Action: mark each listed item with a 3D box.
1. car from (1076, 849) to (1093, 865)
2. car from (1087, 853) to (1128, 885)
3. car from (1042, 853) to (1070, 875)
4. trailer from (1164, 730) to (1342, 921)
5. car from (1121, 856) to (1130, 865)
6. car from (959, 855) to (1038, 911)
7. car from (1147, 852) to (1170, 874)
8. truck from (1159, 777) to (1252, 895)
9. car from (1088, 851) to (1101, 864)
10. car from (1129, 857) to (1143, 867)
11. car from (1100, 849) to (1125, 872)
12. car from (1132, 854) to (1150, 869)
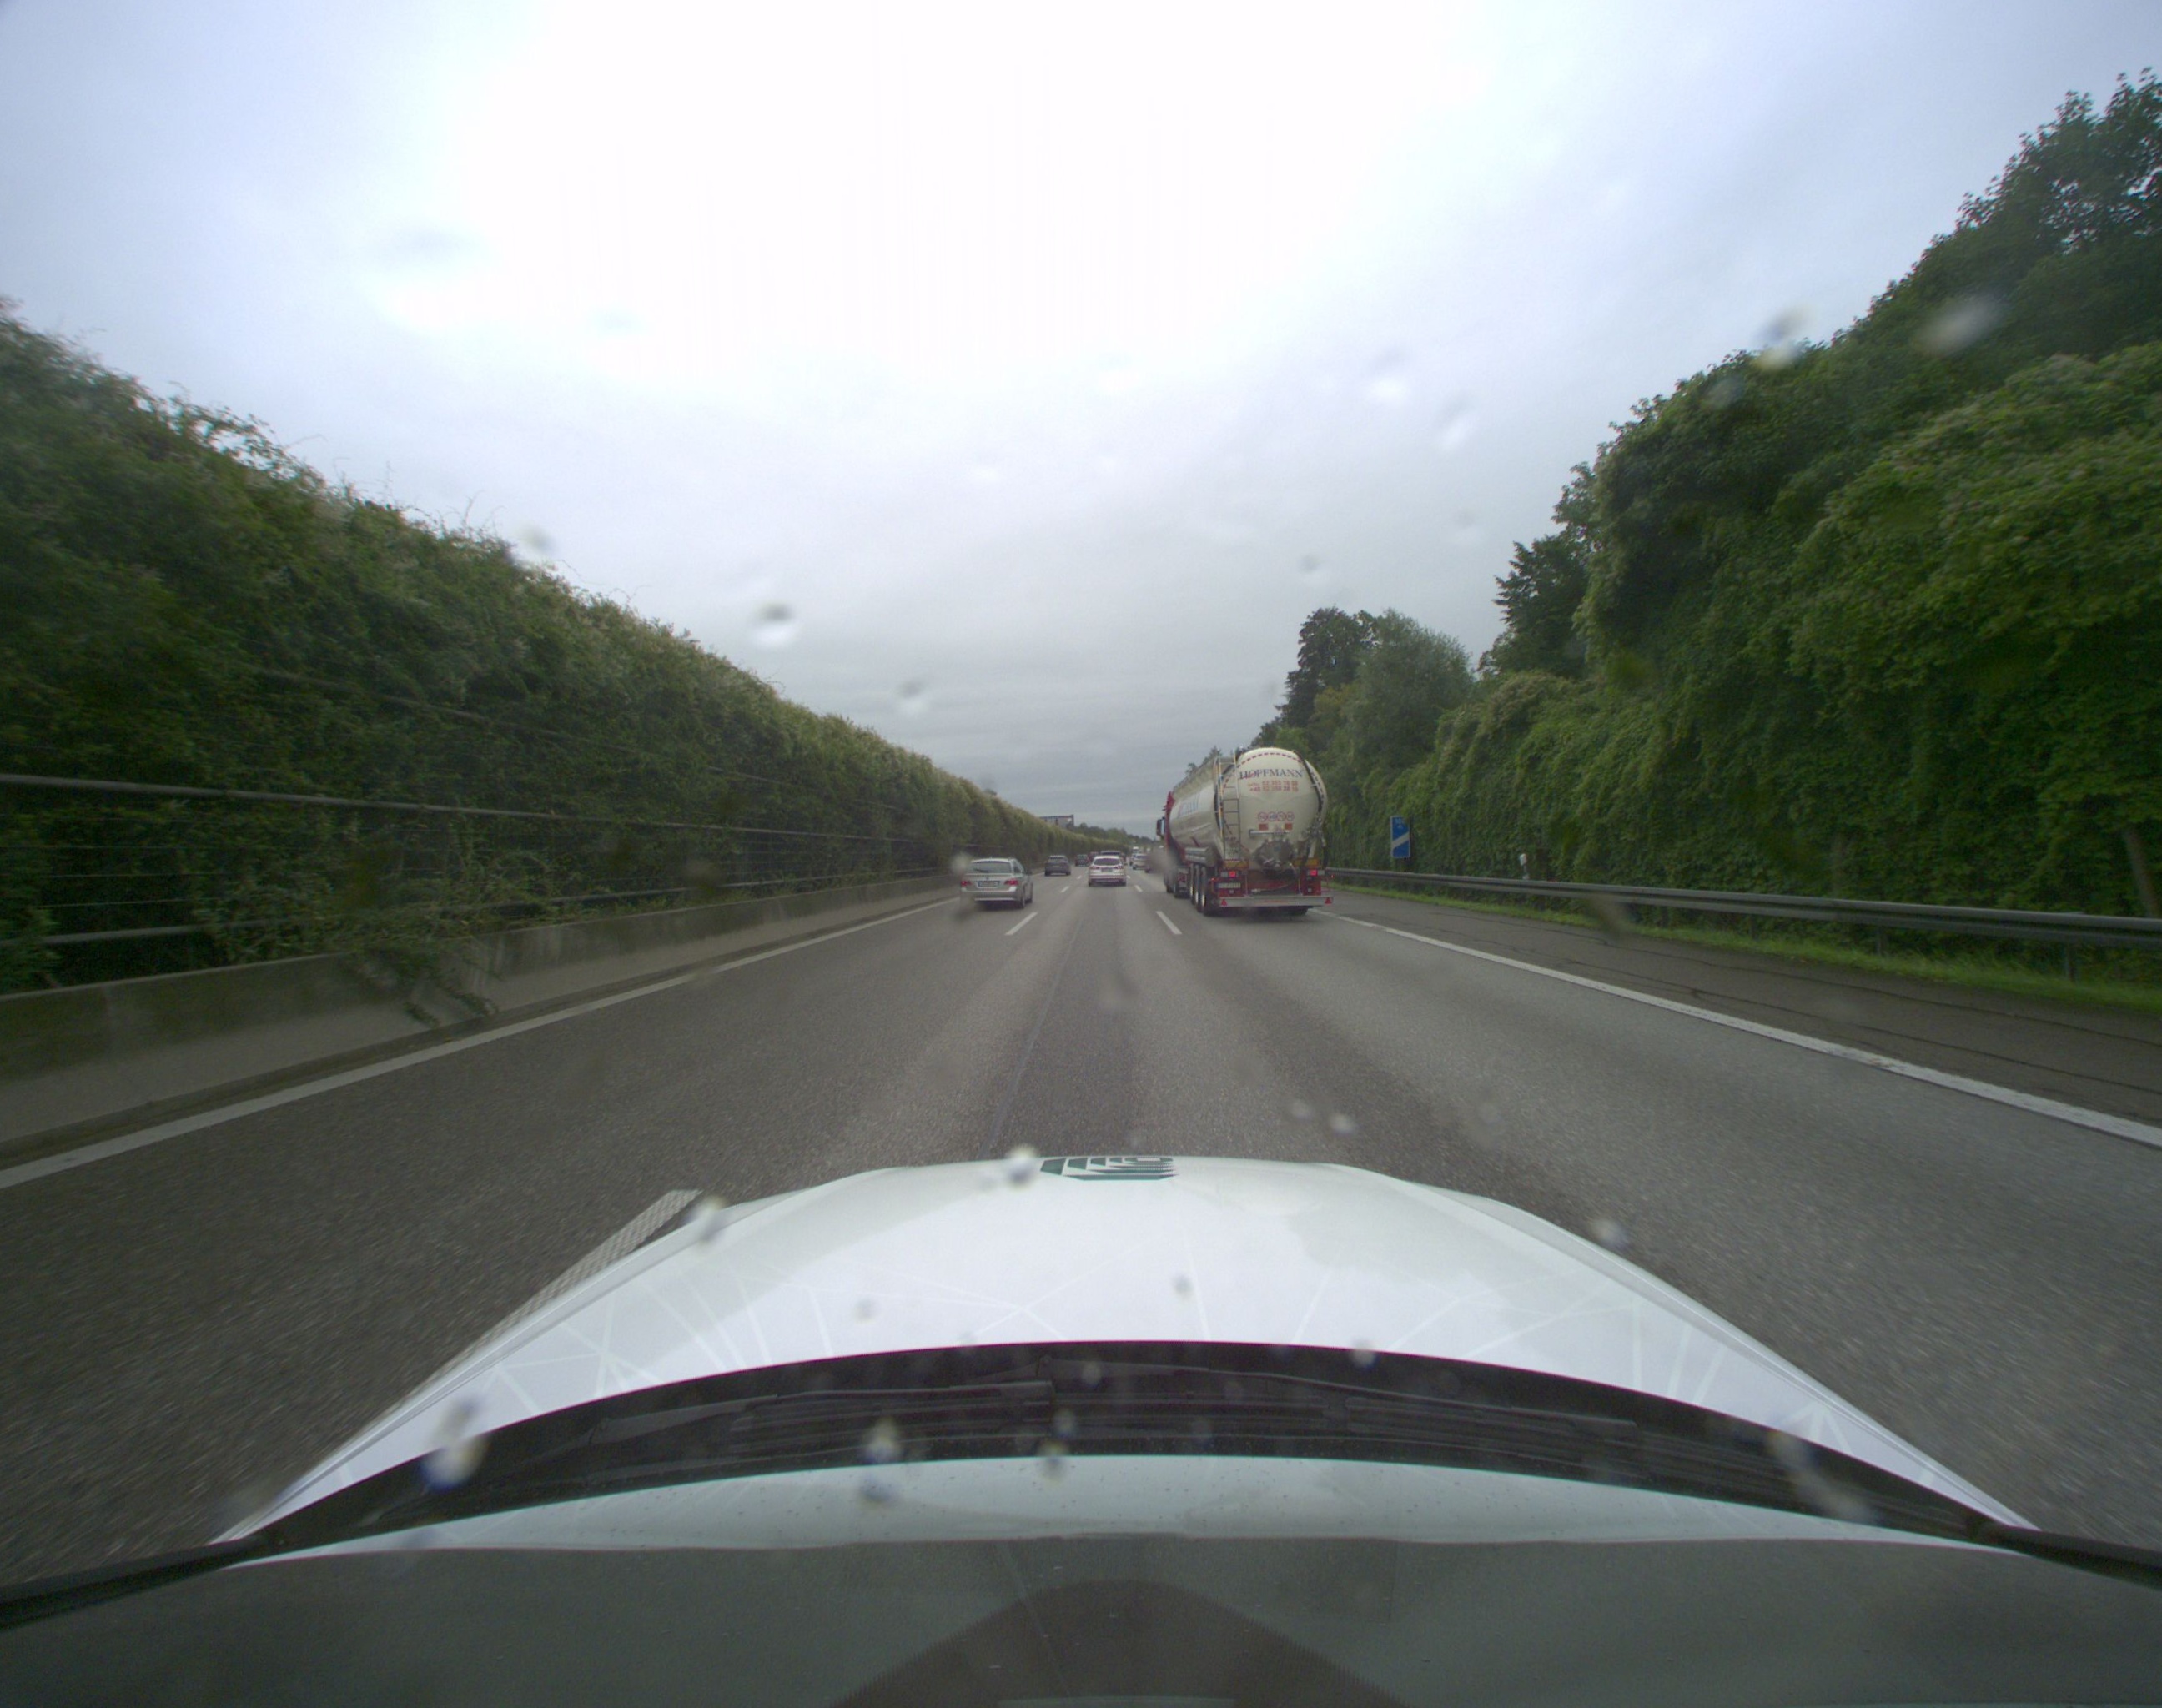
[{"bbox_3d":[0.449,0.339,102.904,1.986,2.013,3.843,-1,0,2],"label":"car"},{"bbox_3d":[1.293,0.709,40.538,1.885,1.504,5.032,-1,0,1],"label":"car"},{"bbox_3d":[-1.770,0.716,59.734,1.713,1.512,5.032,-1,0,2],"label":"car"},{"bbox_3d":[4.234,-0.555,23.438,2.658,3.939,13.134,0,0,2],"label":"trailer"},{"bbox_3d":[8.416,1.234,155.045,1.682,1.539,3.873,-1,0,2],"label":"car"},{"bbox_3d":[-2.406,0.795,24.888,1.713,1.469,5.032,0,1,2],"label":"car"},{"bbox_3d":[6.238,0.701,65.807,1.807,1.625,5.036,-1,0,5],"label":"car"},{"bbox_3d":[4.443,-0.575,30.292,2.684,3.912,6.560,0,0,2],"label":"truck"},{"bbox_3d":[2.182,0.586,133.705,1.986,2.013,4.002,-1,0,2],"label":"car"},{"bbox_3d":[7.163,1.067,106.437,1.682,1.331,3.873,0,0,2],"label":"car"},{"bbox_3d":[2.335,0.472,60.264,1.682,1.506,3.874,3,1,2],"label":"car"},{"bbox_3d":[5.962,0.758,81.256,1.682,1.506,3.873,0,0,2],"label":"car"}]
